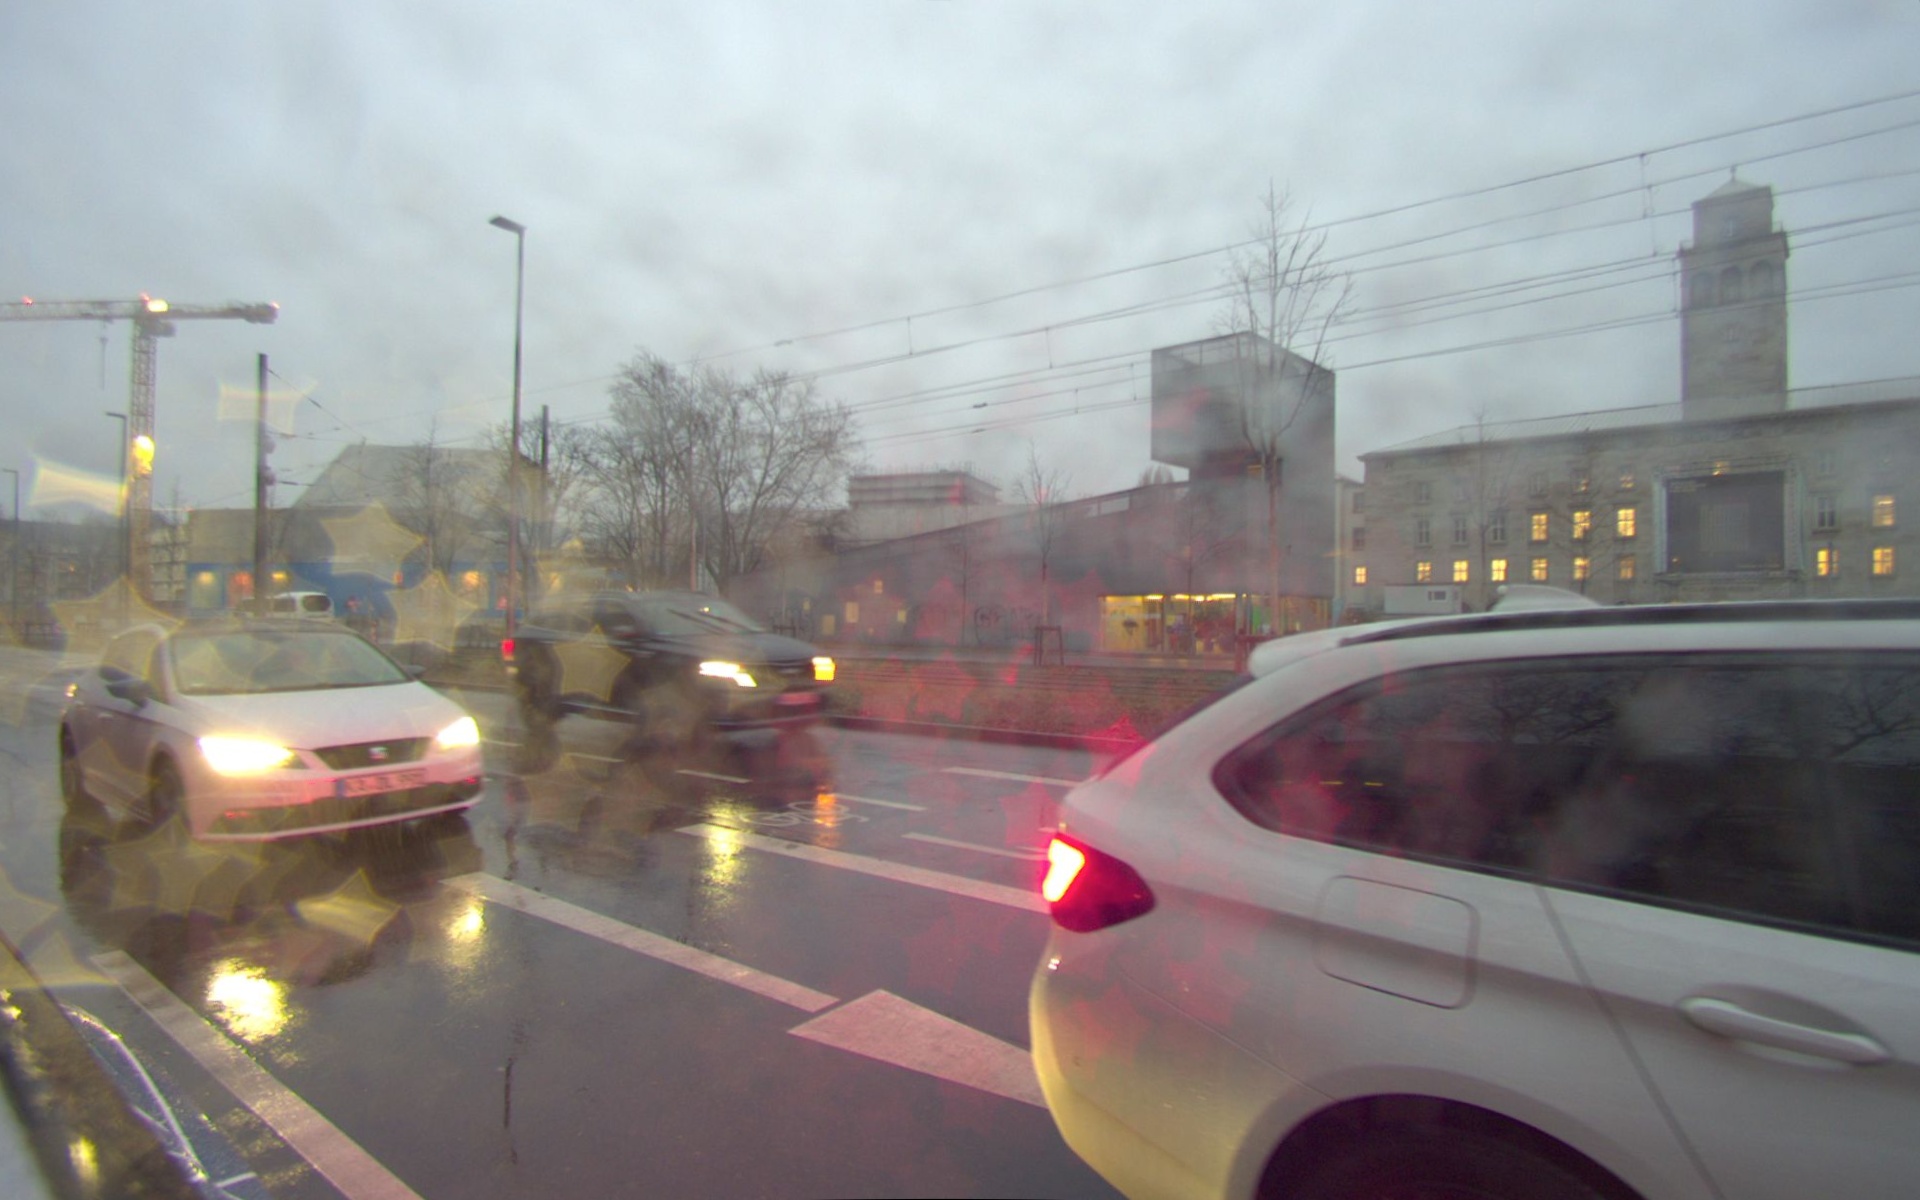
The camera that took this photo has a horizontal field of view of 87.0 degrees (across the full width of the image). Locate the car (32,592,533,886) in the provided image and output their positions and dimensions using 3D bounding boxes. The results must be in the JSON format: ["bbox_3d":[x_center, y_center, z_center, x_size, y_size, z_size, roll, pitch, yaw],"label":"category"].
[{"bbox_3d":[-4.923,0.728,7.133,4.124,1.486,1.757,-1,0,38],"label":"car"}]

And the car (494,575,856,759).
[{"bbox_3d":[-3.443,0.683,11.769,4.606,1.756,1.686,-1,-2,39],"label":"car"}]

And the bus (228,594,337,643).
[{"bbox_3d":[-52.789,1.438,78.655,12.277,3.605,2.782,-1,-2,35],"label":"bus"}]

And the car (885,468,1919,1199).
[{"bbox_3d":[2.313,0.620,1.420,4.919,1.532,1.890,-1,-2,40],"label":"car"}]
